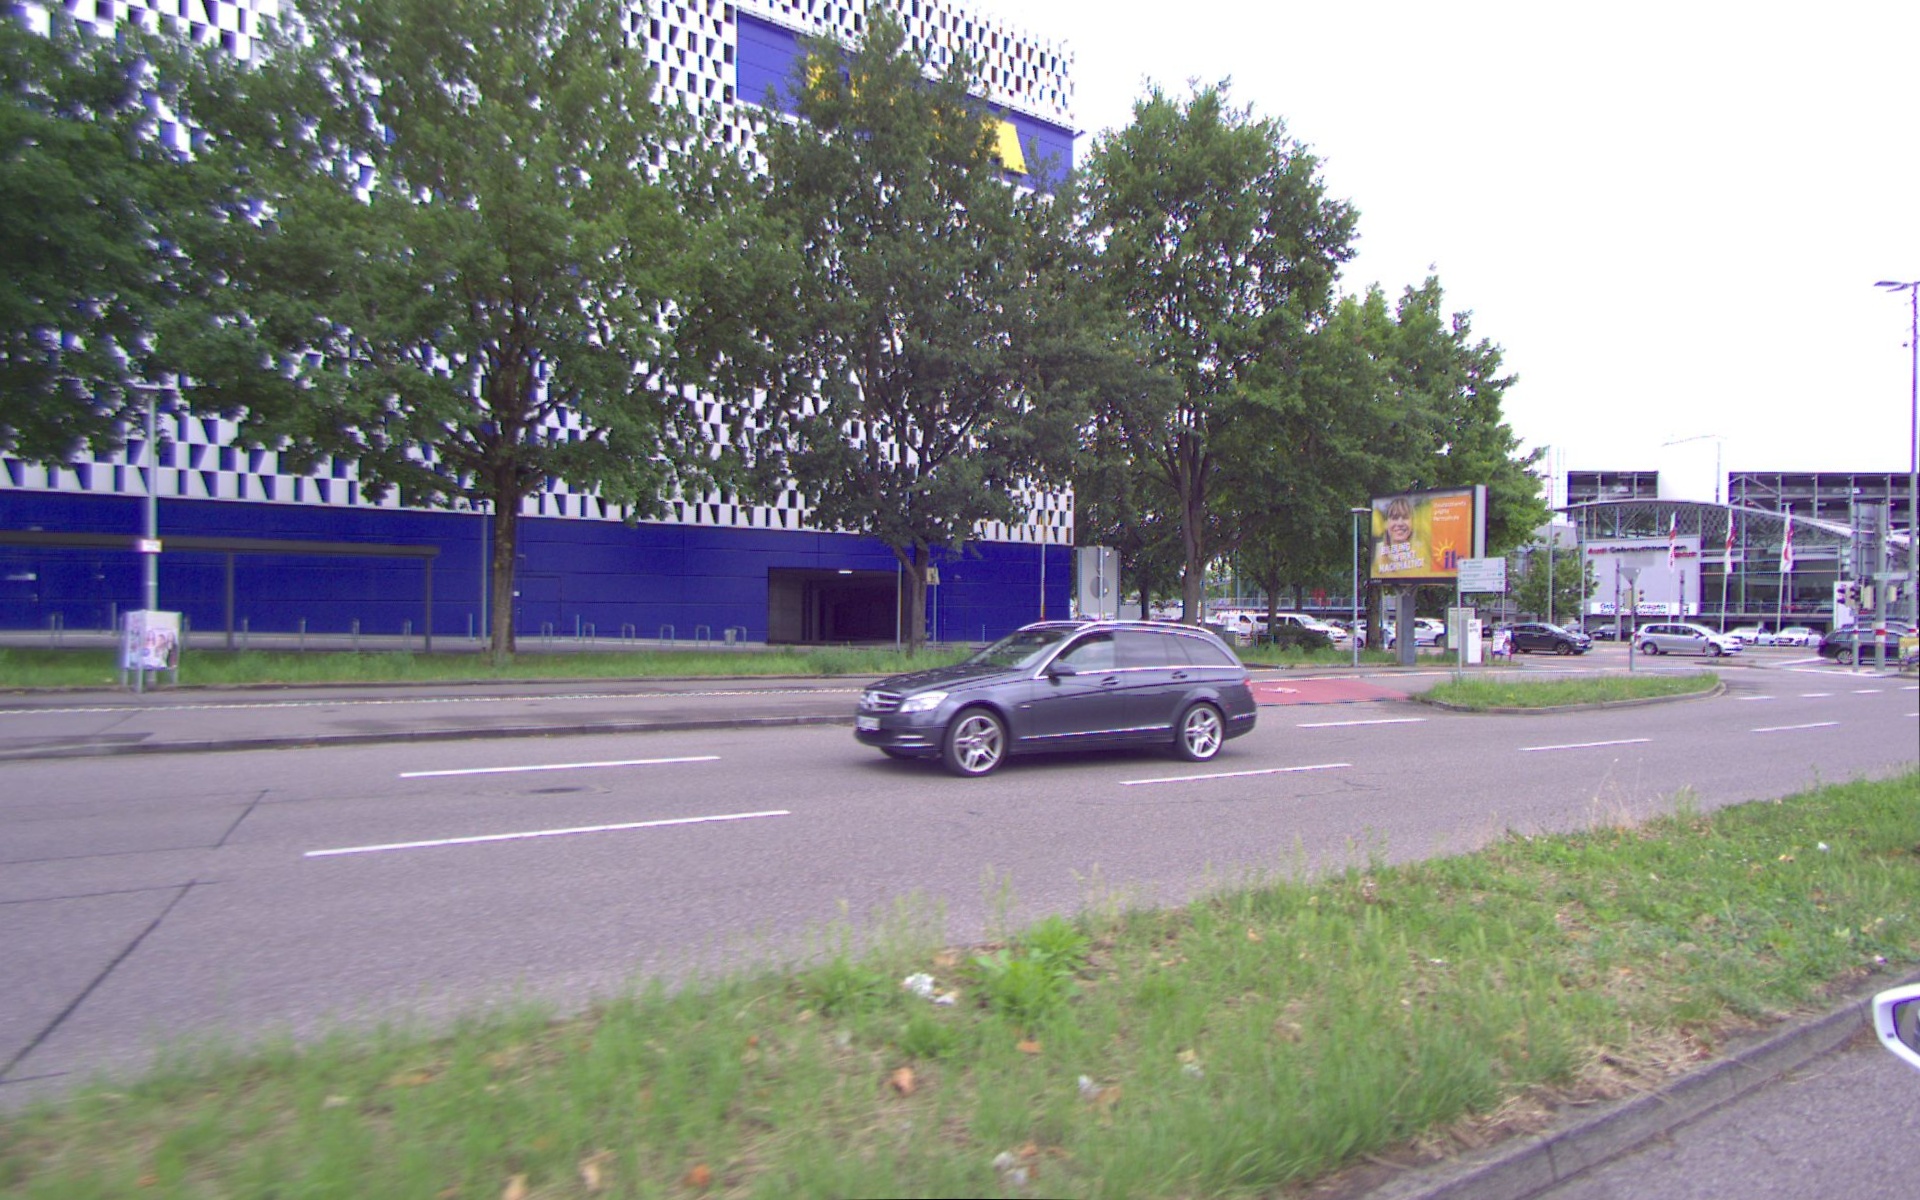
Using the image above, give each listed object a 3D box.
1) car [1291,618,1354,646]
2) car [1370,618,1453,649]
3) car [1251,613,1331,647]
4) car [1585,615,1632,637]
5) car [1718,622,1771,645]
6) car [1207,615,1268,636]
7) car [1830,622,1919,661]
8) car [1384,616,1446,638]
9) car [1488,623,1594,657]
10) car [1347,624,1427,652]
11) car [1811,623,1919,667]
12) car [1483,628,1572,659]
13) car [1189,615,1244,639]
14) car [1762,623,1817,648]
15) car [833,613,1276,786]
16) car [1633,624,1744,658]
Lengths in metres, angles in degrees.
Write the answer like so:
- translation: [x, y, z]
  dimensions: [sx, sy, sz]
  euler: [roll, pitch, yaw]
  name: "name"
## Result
- translation: [25.029, 2.175, 69.503]
  dimensions: [1.861, 1.770, 3.735]
  euler: [-1, 1, -35]
  name: "car"
- translation: [28.661, 2.095, 63.873]
  dimensions: [1.980, 1.734, 4.403]
  euler: [-3, 2, -35]
  name: "car"
- translation: [22.267, 1.985, 67.783]
  dimensions: [1.860, 1.991, 5.100]
  euler: [-3, 2, -34]
  name: "car"
- translation: [48.042, 1.879, 74.398]
  dimensions: [3.495, 1.505, 1.590]
  euler: [-1, 1, -31]
  name: "car"
- translation: [52.656, 2.224, 67.451]
  dimensions: [3.495, 1.419, 1.710]
  euler: [-1, 1, -31]
  name: "car"
- translation: [20.927, 1.900, 75.891]
  dimensions: [1.973, 1.524, 4.201]
  euler: [0, 0, -34]
  name: "car"
- translation: [43.829, 1.914, 47.099]
  dimensions: [1.983, 1.666, 4.366]
  euler: [-1, 1, -40]
  name: "car"
- translation: [34.441, 2.026, 76.130]
  dimensions: [1.744, 1.589, 3.913]
  euler: [-1, 1, -37]
  name: "car"
- translation: [31.157, 2.115, 53.964]
  dimensions: [1.981, 1.682, 4.511]
  euler: [1, -1, -37]
  name: "car"
- translation: [26.298, 2.301, 61.943]
  dimensions: [1.973, 1.532, 4.201]
  euler: [0, 0, -34]
  name: "car"
- translation: [39.035, 1.881, 42.440]
  dimensions: [1.981, 1.682, 4.384]
  euler: [1, 0, -37]
  name: "car"
- translation: [32.734, 2.515, 58.009]
  dimensions: [1.980, 1.683, 3.962]
  euler: [-1, -2, -35]
  name: "car"
- translation: [18.746, 1.953, 73.523]
  dimensions: [1.711, 1.674, 3.838]
  euler: [-1, 1, -30]
  name: "car"
- translation: [53.929, 2.290, 65.305]
  dimensions: [3.495, 1.419, 1.710]
  euler: [-1, 1, -31]
  name: "car"
- translation: [1.073, 0.944, 10.643]
  dimensions: [4.476, 1.499, 1.783]
  euler: [1, -2, -29]
  name: "car"
- translation: [37.003, 2.043, 51.117]
  dimensions: [1.981, 1.529, 4.217]
  euler: [-1, 1, -37]
  name: "car"
